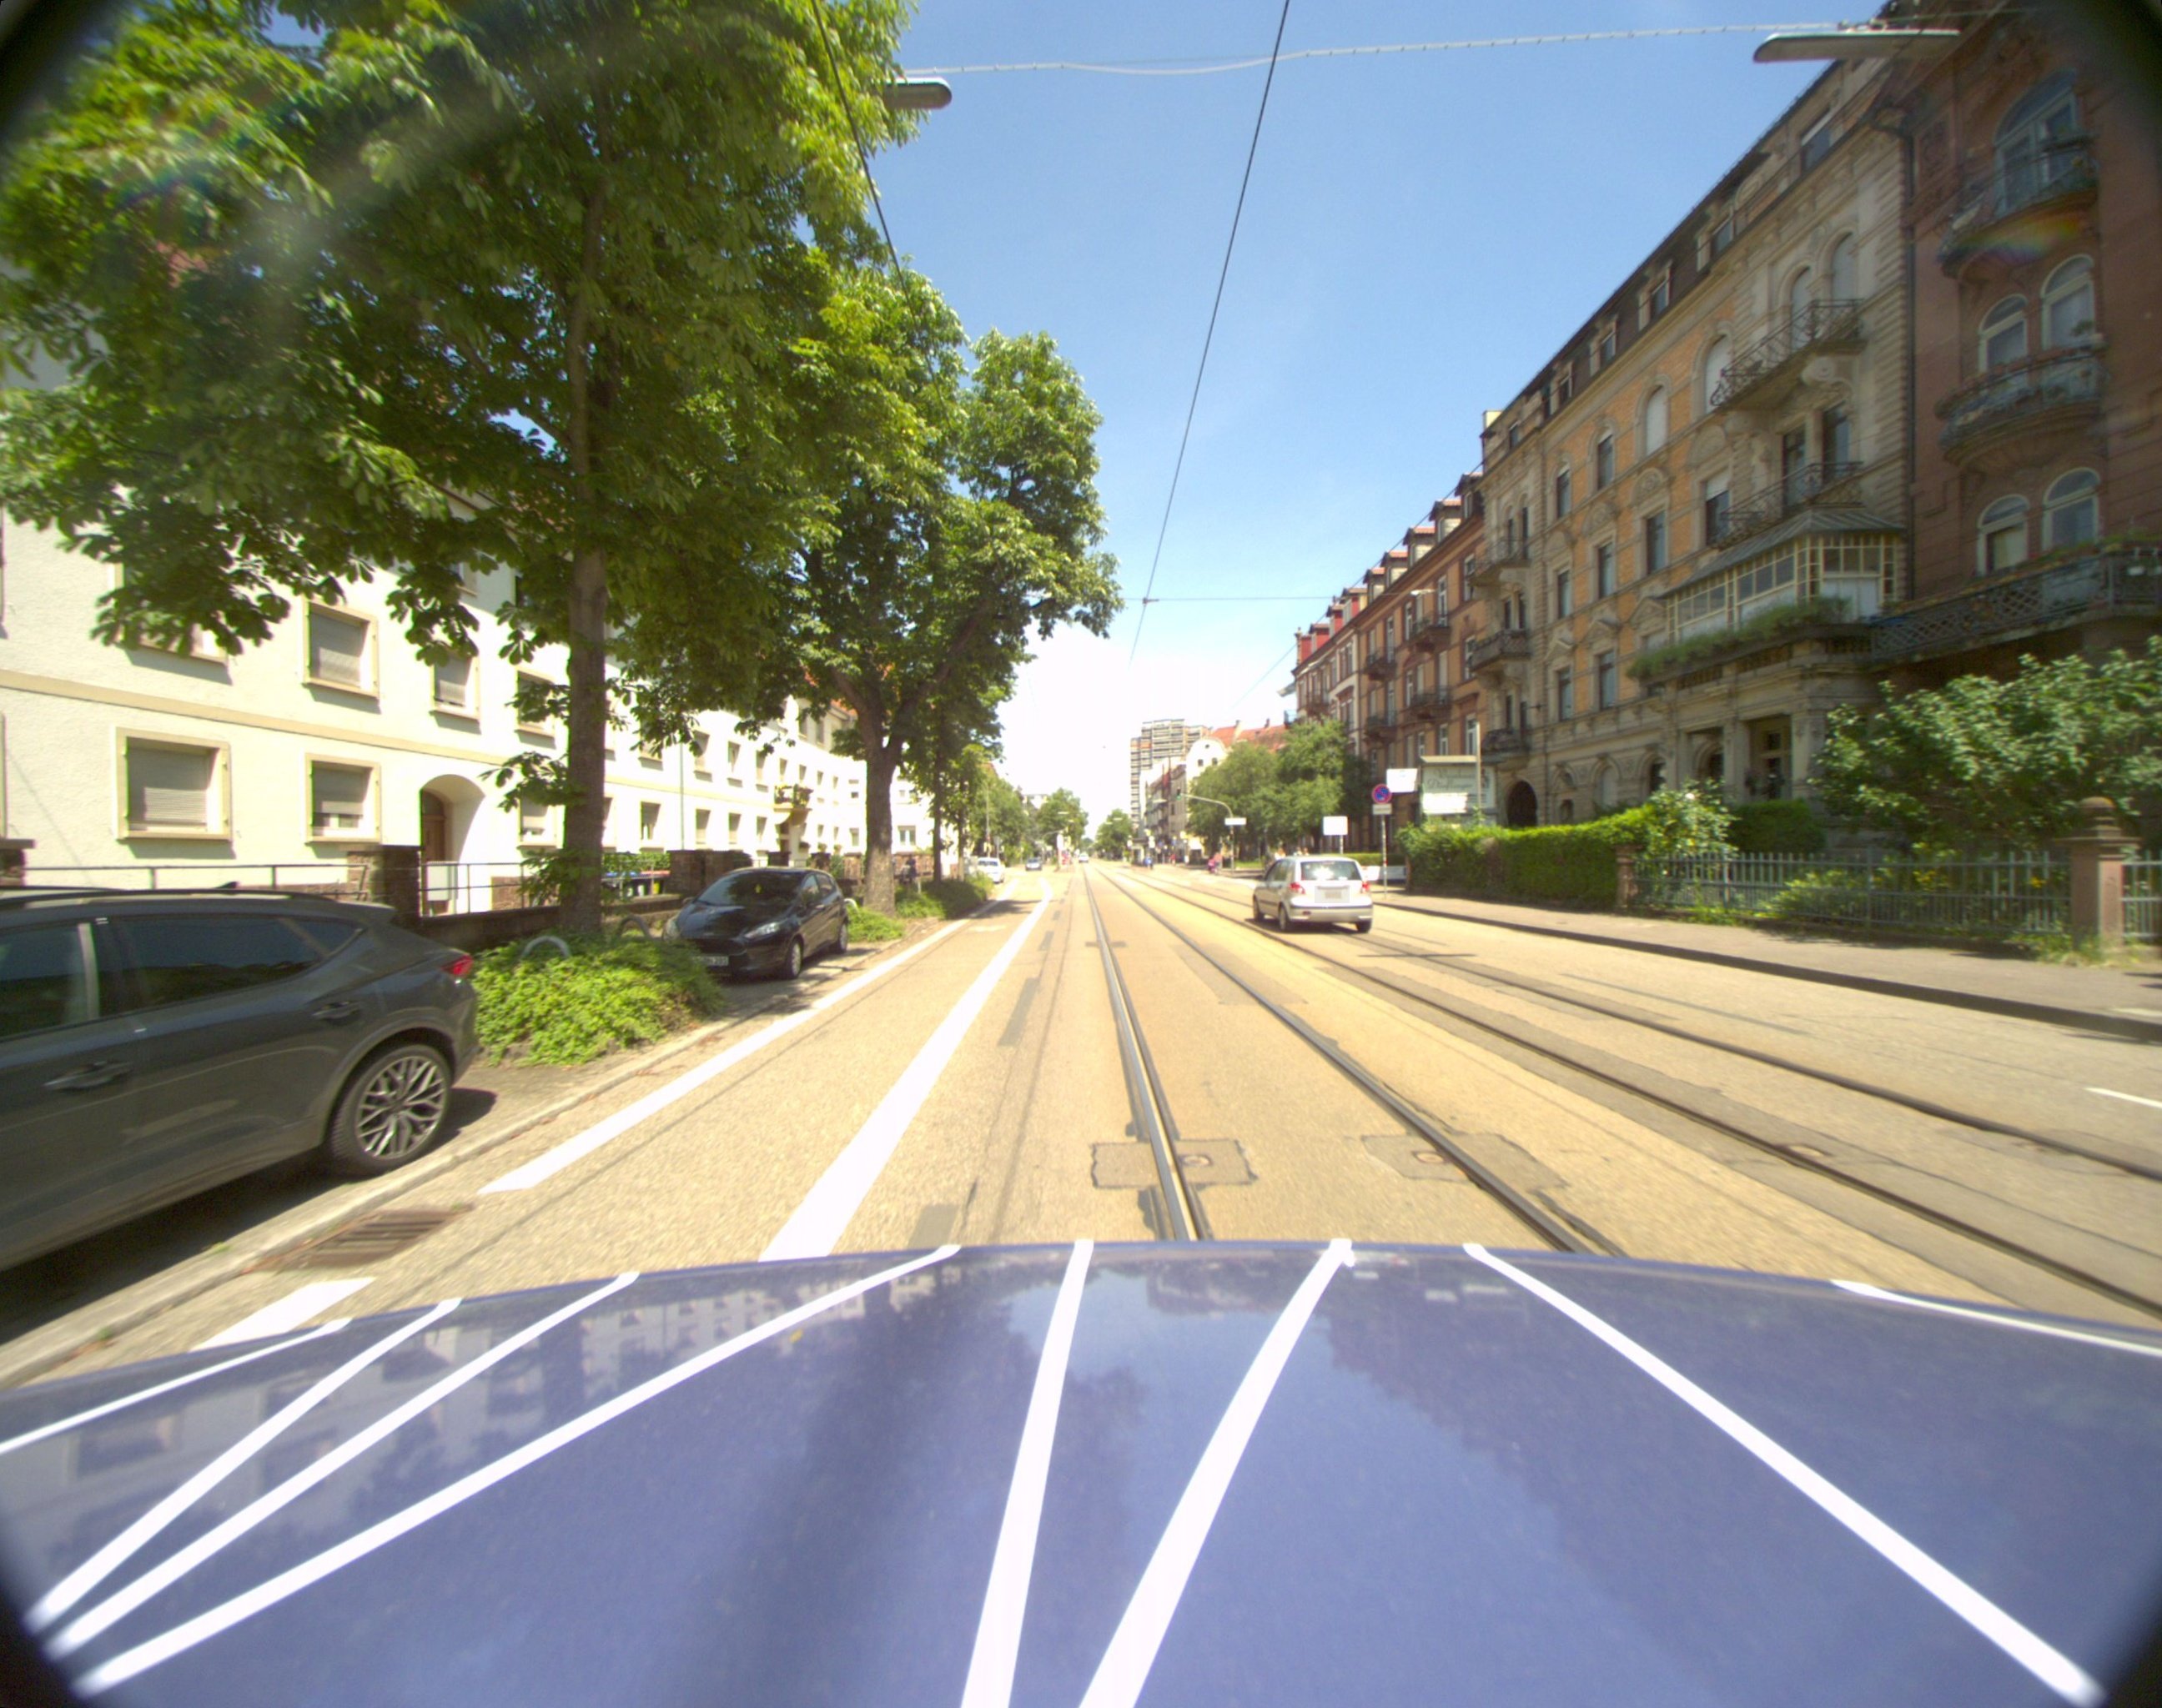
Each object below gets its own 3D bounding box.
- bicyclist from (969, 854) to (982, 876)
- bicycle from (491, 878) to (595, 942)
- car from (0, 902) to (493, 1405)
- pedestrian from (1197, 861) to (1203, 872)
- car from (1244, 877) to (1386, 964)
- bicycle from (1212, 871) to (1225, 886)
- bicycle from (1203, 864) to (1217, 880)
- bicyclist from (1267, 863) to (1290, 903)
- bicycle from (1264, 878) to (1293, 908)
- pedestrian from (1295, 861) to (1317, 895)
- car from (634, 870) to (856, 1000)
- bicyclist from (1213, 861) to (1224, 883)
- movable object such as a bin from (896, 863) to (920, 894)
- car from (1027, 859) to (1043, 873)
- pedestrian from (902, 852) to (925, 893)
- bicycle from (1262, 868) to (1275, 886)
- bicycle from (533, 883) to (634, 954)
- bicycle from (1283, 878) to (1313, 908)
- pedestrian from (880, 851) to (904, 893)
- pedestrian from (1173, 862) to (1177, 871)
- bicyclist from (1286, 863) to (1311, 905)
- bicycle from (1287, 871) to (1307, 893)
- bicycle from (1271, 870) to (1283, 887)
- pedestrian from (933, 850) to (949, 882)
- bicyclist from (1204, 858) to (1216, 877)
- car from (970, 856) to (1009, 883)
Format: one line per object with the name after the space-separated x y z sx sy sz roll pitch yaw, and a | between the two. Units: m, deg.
-6.813 0.708 49.128 0.712 1.443 1.010 0 0 2 | bicyclist
-10.750 1.078 15.288 0.598 1.119 1.970 4 0 1 | bicycle
-4.452 1.054 2.455 1.737 1.543 4.453 0 0 -2 | car
15.833 1.646 101.151 0.537 1.433 0.520 0 0 -10 | pedestrian
4.557 1.237 15.426 1.689 1.441 4.000 1 0 1 | car
9.711 1.736 53.730 0.569 1.032 1.829 0 0 1 | bicycle
10.760 1.474 63.463 0.809 1.264 2.551 0 0 1 | bicycle
7.746 1.125 29.809 0.594 1.535 0.952 1 0 0 | bicyclist
7.734 1.499 29.827 0.583 1.072 1.890 1 0 0 | bicycle
11.116 1.179 37.609 0.874 1.690 1.014 0 0 6 | pedestrian
-4.656 1.024 11.205 1.661 1.506 3.999 0 0 -3 | car
9.717 1.269 53.746 0.564 1.507 0.892 0 0 1 | bicyclist
-6.913 0.990 30.443 0.699 1.179 1.036 3 0 -1 | movable object such as a bin
-5.167 1.326 85.777 1.737 1.543 4.423 0 0 -2 | car
-6.919 0.759 31.398 0.699 1.660 0.869 3 0 -1 | pedestrian
12.697 1.561 51.548 0.574 1.162 1.716 0 0 3 | bicycle
-9.452 1.187 14.529 0.598 1.202 1.970 2 0 0 | bicycle
8.521 1.523 29.901 0.631 1.072 1.875 1 0 0 | bicycle
-7.697 0.747 31.003 0.699 1.660 0.756 3 0 -1 | pedestrian
15.278 2.083 123.032 0.537 1.433 0.520 0 0 -10 | pedestrian
8.532 1.160 29.804 0.635 1.575 1.028 1 0 0 | bicyclist
11.859 1.525 41.792 0.639 1.087 1.931 -2 0 3 | bicycle
12.714 1.590 49.394 0.460 1.050 1.565 0 0 3 | bicycle
-7.341 0.623 39.788 0.699 1.660 0.756 0 0 -1 | pedestrian
10.759 1.110 63.488 0.809 1.620 0.980 0 0 1 | bicyclist
-5.363 0.870 45.055 1.782 1.402 4.156 5 0 -1 | car
